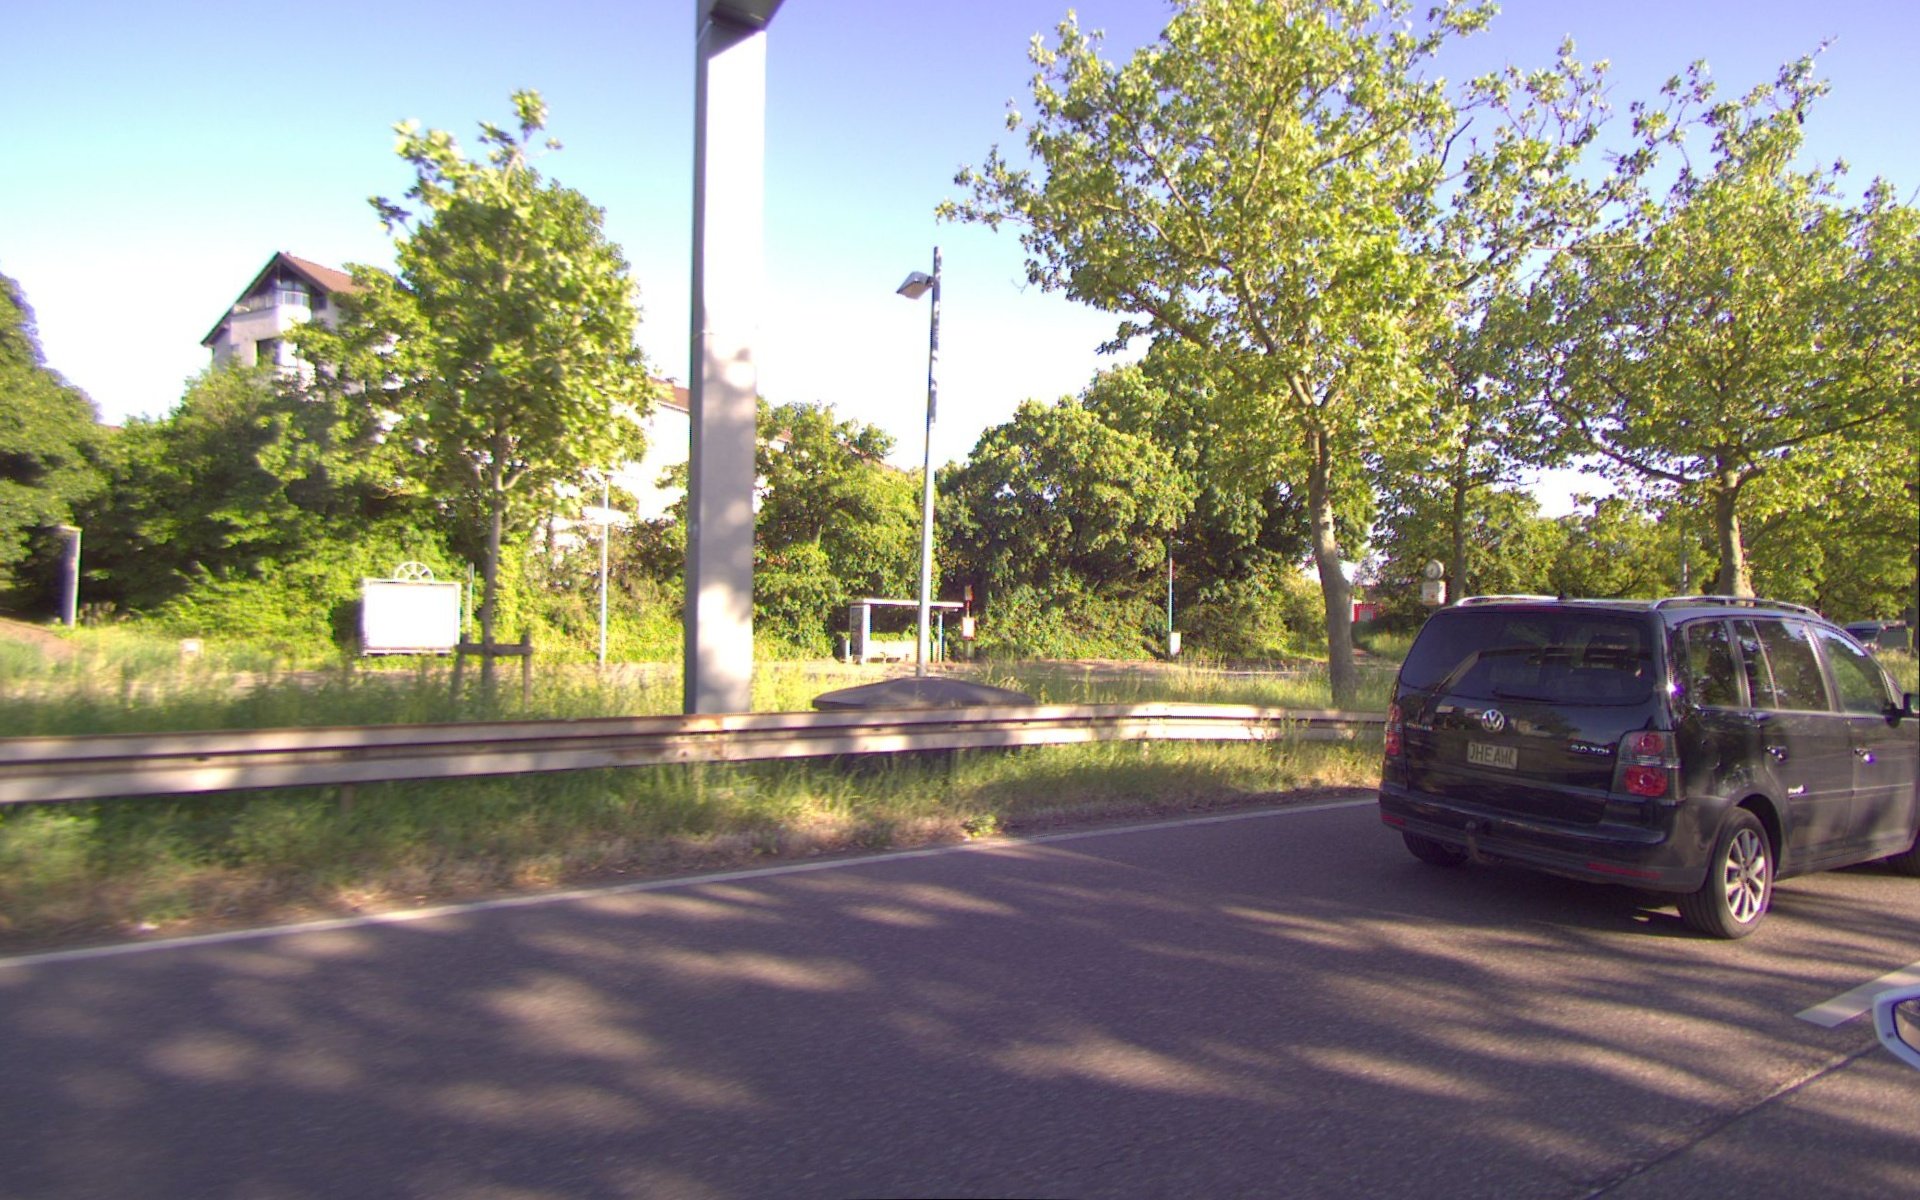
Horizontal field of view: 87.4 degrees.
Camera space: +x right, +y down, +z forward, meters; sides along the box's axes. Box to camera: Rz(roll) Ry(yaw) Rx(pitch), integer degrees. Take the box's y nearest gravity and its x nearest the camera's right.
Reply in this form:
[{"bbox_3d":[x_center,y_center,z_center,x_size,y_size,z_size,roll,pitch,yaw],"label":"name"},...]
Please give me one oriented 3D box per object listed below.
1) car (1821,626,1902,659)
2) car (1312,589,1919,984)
[{"bbox_3d":[55.169,2.578,61.447,5.675,1.927,2.124,2,-2,-31],"label":"car"},{"bbox_3d":[4.568,0.863,6.247,4.866,1.666,1.759,2,-1,-31],"label":"car"}]
